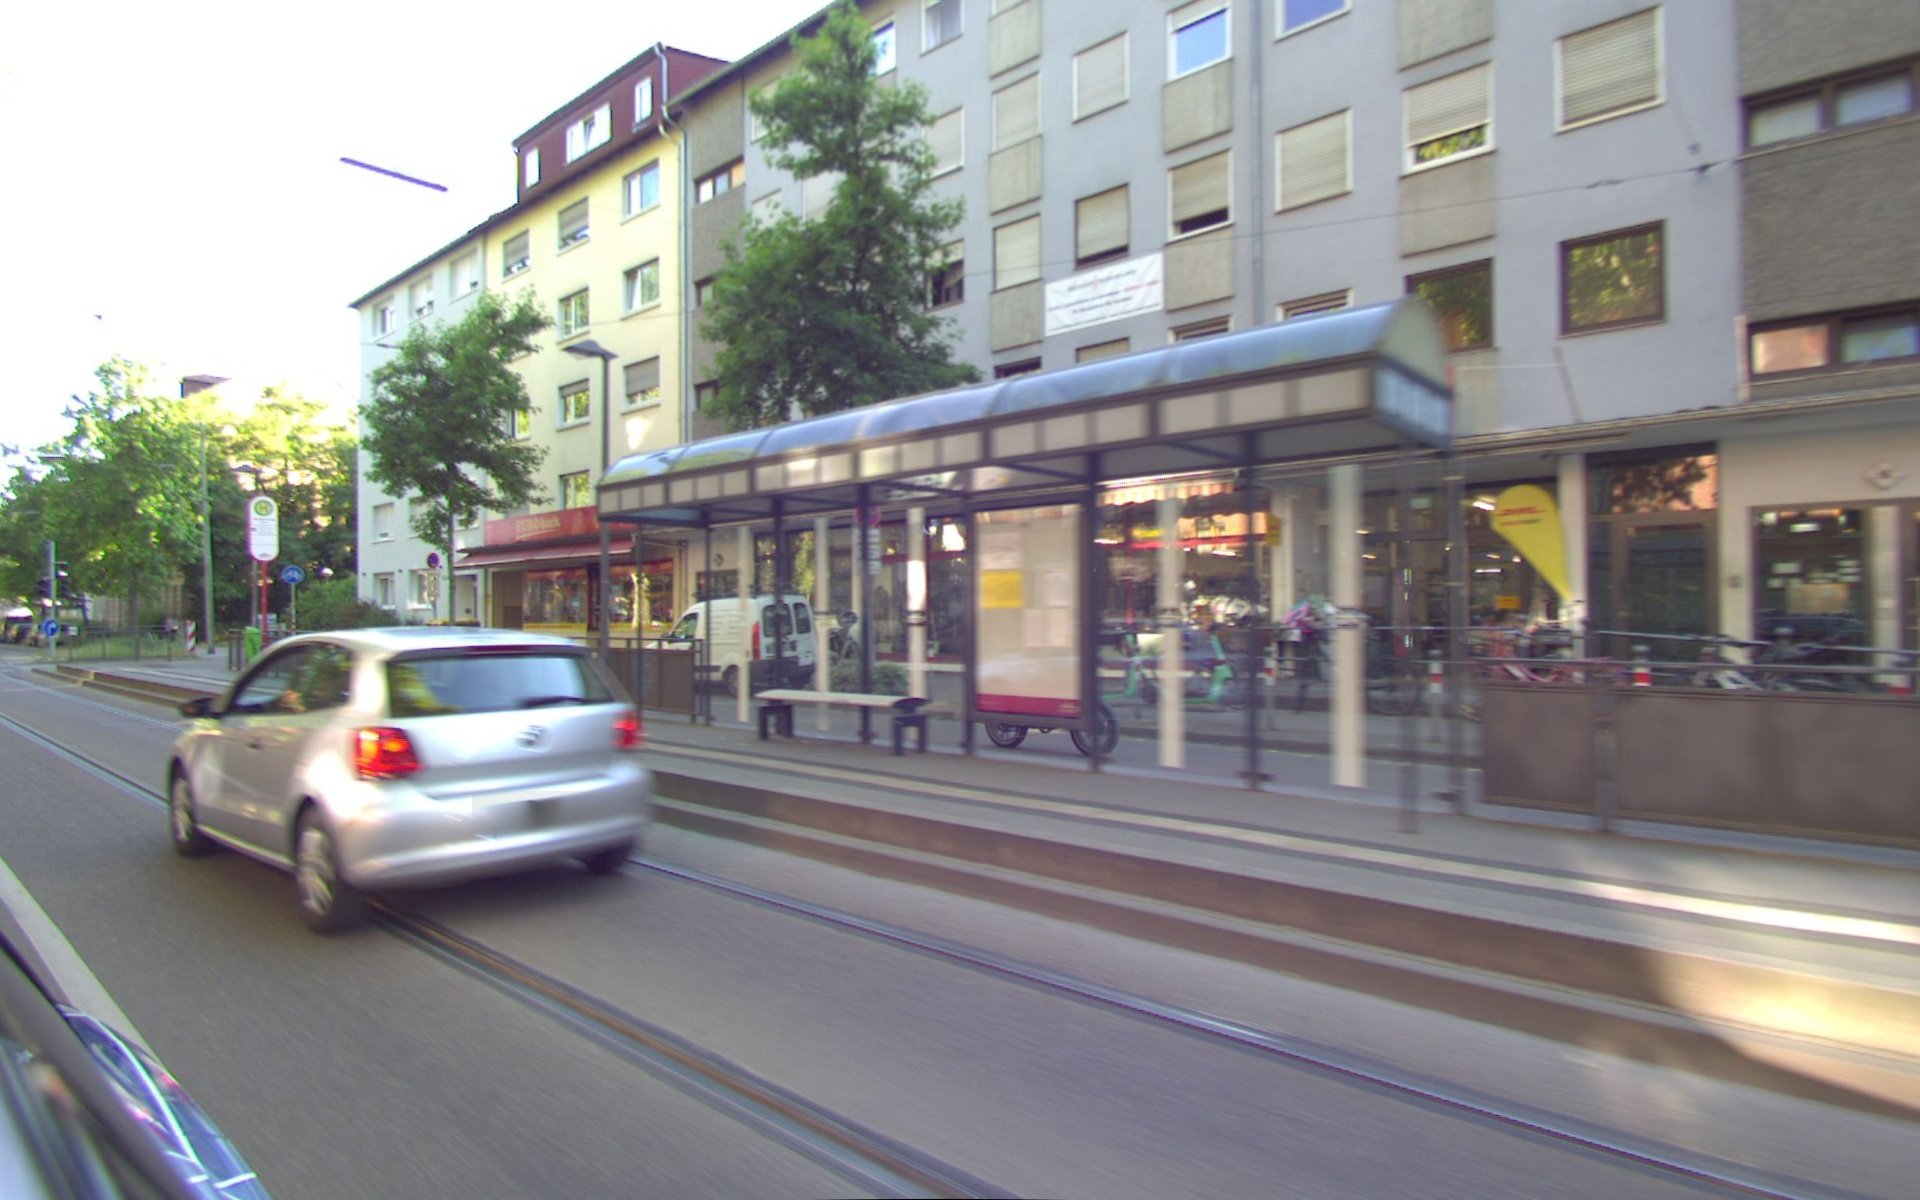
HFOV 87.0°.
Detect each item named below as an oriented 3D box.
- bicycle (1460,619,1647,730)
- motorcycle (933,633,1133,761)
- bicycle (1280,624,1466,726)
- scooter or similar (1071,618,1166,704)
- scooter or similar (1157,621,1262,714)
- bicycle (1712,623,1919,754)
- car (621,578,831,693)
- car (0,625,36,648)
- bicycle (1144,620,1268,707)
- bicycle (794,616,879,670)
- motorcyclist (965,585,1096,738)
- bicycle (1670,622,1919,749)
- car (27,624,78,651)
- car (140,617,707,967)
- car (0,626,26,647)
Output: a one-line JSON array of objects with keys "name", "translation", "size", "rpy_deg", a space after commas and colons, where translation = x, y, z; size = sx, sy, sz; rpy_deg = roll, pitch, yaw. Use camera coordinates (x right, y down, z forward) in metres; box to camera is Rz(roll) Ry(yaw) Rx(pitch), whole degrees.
[{"name": "bicycle", "translation": [6.589, 0.798, 11.282], "size": [1.748, 1.165, 0.488], "rpy_deg": [-1, -2, 36]}, {"name": "motorcycle", "translation": [0.711, 0.926, 10.313], "size": [1.914, 1.173, 0.840], "rpy_deg": [-1, -2, 41]}, {"name": "bicycle", "translation": [5.048, 0.886, 12.444], "size": [2.033, 1.165, 0.565], "rpy_deg": [-1, -2, 36]}, {"name": "scooter or similar", "translation": [2.200, 0.846, 14.131], "size": [1.259, 1.183, 0.445], "rpy_deg": [0, -2, 5]}, {"name": "scooter or similar", "translation": [3.281, 0.868, 13.367], "size": [1.272, 1.183, 0.440], "rpy_deg": [-1, -2, 36]}, {"name": "bicycle", "translation": [8.334, 0.799, 9.439], "size": [2.019, 1.165, 0.556], "rpy_deg": [-1, -2, 26]}, {"name": "car", "translation": [-4.480, 0.651, 19.100], "size": [4.046, 1.949, 1.785], "rpy_deg": [-1, -2, 40]}, {"name": "car", "translation": [-66.038, 2.511, 70.711], "size": [3.678, 1.541, 1.971], "rpy_deg": [-2, -2, 44]}, {"name": "bicycle", "translation": [3.493, 0.879, 14.472], "size": [1.688, 1.165, 0.506], "rpy_deg": [-2, -2, 44]}, {"name": "bicycle", "translation": [-2.770, 0.942, 22.537], "size": [2.033, 1.165, 0.565], "rpy_deg": [-1, -2, 36]}, {"name": "motorcyclist", "translation": [0.715, 0.602, 10.299], "size": [1.015, 1.451, 0.864], "rpy_deg": [-1, -2, 40]}, {"name": "bicycle", "translation": [8.214, 0.799, 9.871], "size": [2.019, 1.165, 0.556], "rpy_deg": [-1, -2, 26]}, {"name": "car", "translation": [-54.213, 2.198, 60.430], "size": [3.678, 1.541, 1.971], "rpy_deg": [-2, -2, 44]}, {"name": "car", "translation": [-3.444, 0.839, 6.154], "size": [3.998, 1.437, 1.743], "rpy_deg": [-1, -2, 41]}, {"name": "car", "translation": [-69.663, 2.653, 73.888], "size": [3.678, 1.541, 1.971], "rpy_deg": [-2, -2, 44]}]
